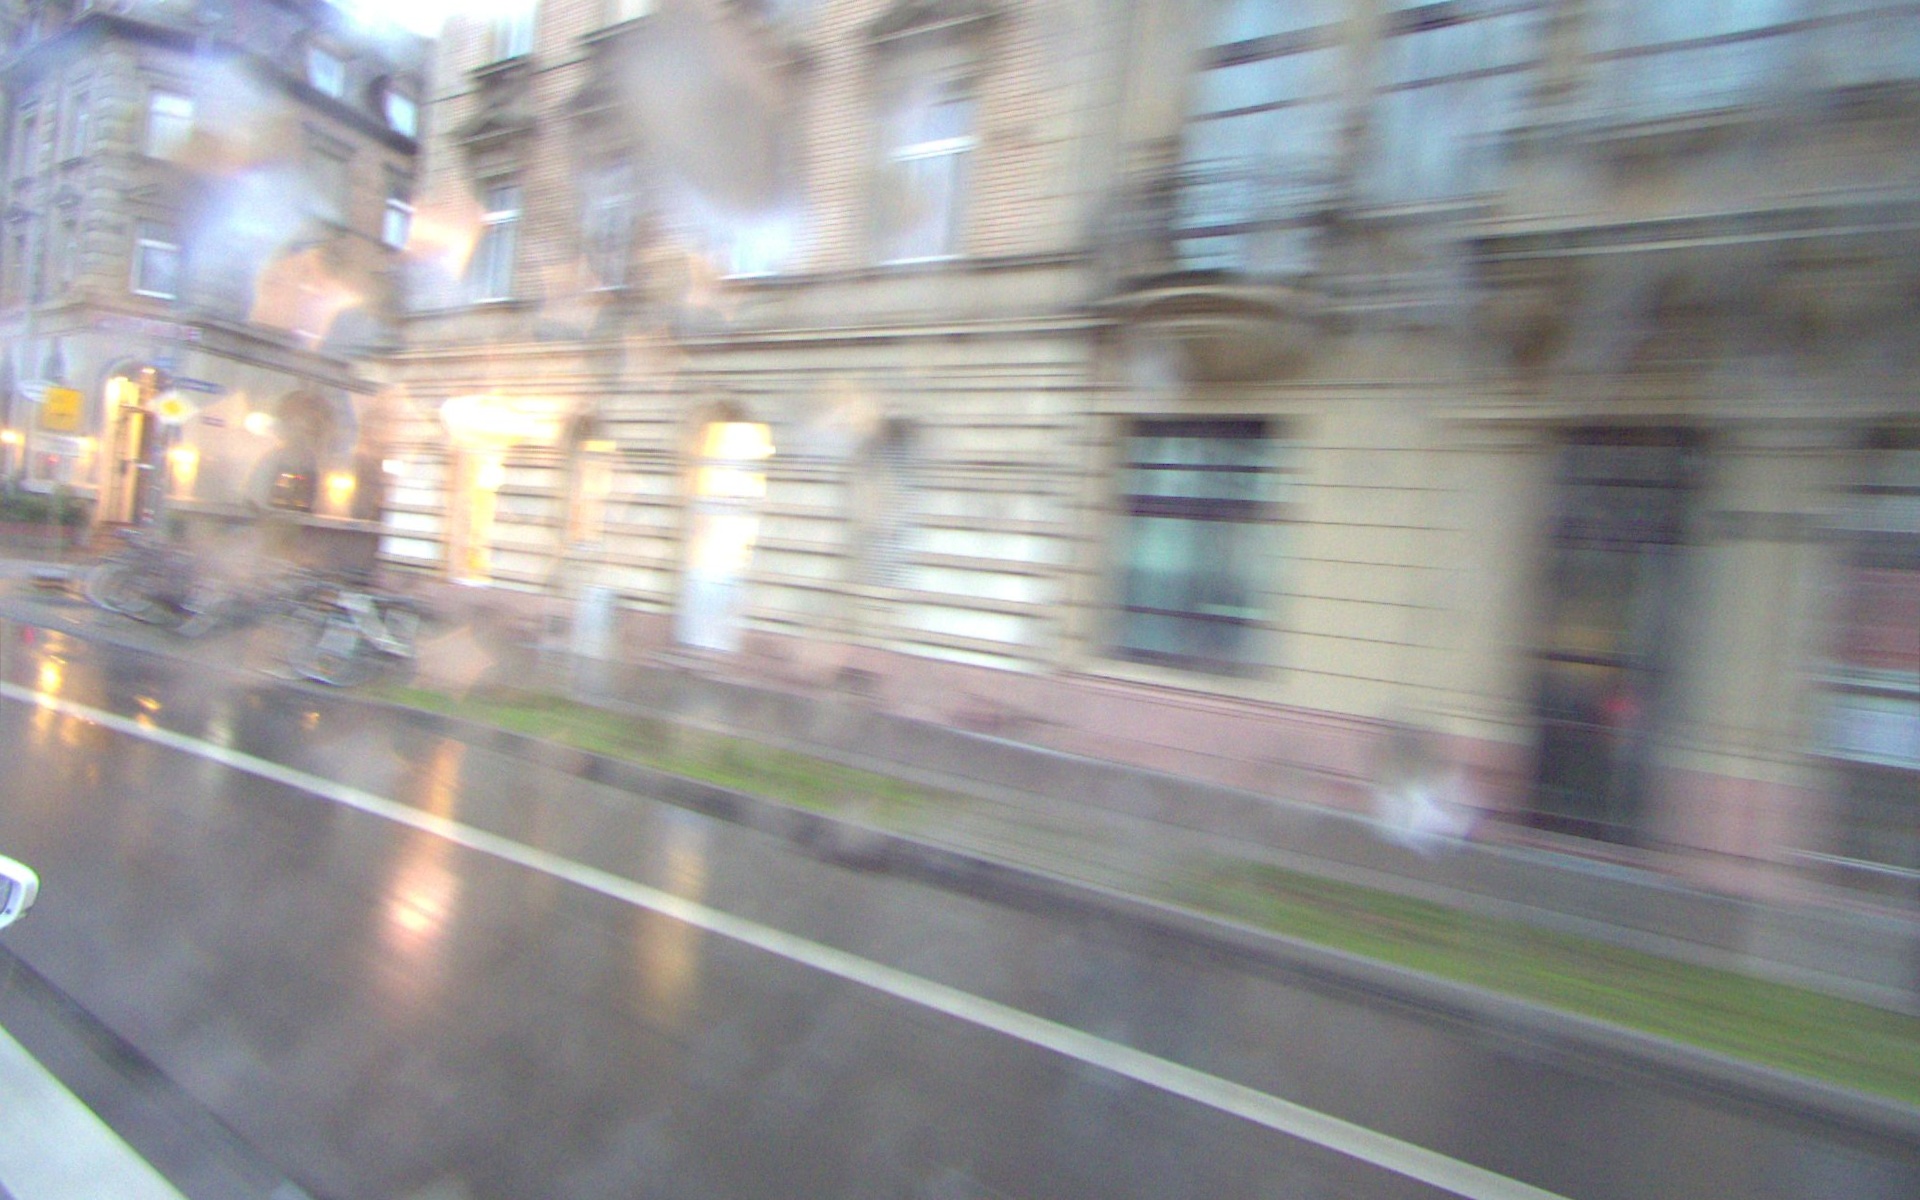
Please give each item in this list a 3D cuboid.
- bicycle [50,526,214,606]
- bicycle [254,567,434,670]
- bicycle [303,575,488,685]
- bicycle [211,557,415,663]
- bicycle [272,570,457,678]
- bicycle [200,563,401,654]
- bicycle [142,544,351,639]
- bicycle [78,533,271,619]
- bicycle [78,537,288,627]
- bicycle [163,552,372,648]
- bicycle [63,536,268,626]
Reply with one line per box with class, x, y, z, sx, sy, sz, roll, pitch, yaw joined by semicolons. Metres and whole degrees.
bicycle;-12.172;-0.475;14.890;0.469;1.066;2.094;6;1;5
bicycle;-6.982;0.230;11.500;0.365;1.069;1.731;7;2;30
bicycle;-6.027;0.332;10.837;0.365;1.069;1.731;7;2;30
bicycle;-7.518;0.119;11.805;0.418;1.110;2.008;7;3;30
bicycle;-6.475;0.281;11.044;0.365;1.069;1.731;7;2;30
bicycle;-7.866;0.109;12.108;0.418;0.984;2.008;7;3;30
bicycle;-9.098;-0.070;12.942;0.476;1.069;2.146;7;1;30
bicycle;-11.110;-0.309;14.319;0.470;1.066;2.089;7;2;30
bicycle;-10.132;-0.205;13.221;0.418;1.069;2.144;8;4;30
bicycle;-8.600;0.019;12.613;0.418;1.069;2.145;9;3;30
bicycle;-10.562;-0.218;13.466;0.470;1.066;2.089;7;2;30
